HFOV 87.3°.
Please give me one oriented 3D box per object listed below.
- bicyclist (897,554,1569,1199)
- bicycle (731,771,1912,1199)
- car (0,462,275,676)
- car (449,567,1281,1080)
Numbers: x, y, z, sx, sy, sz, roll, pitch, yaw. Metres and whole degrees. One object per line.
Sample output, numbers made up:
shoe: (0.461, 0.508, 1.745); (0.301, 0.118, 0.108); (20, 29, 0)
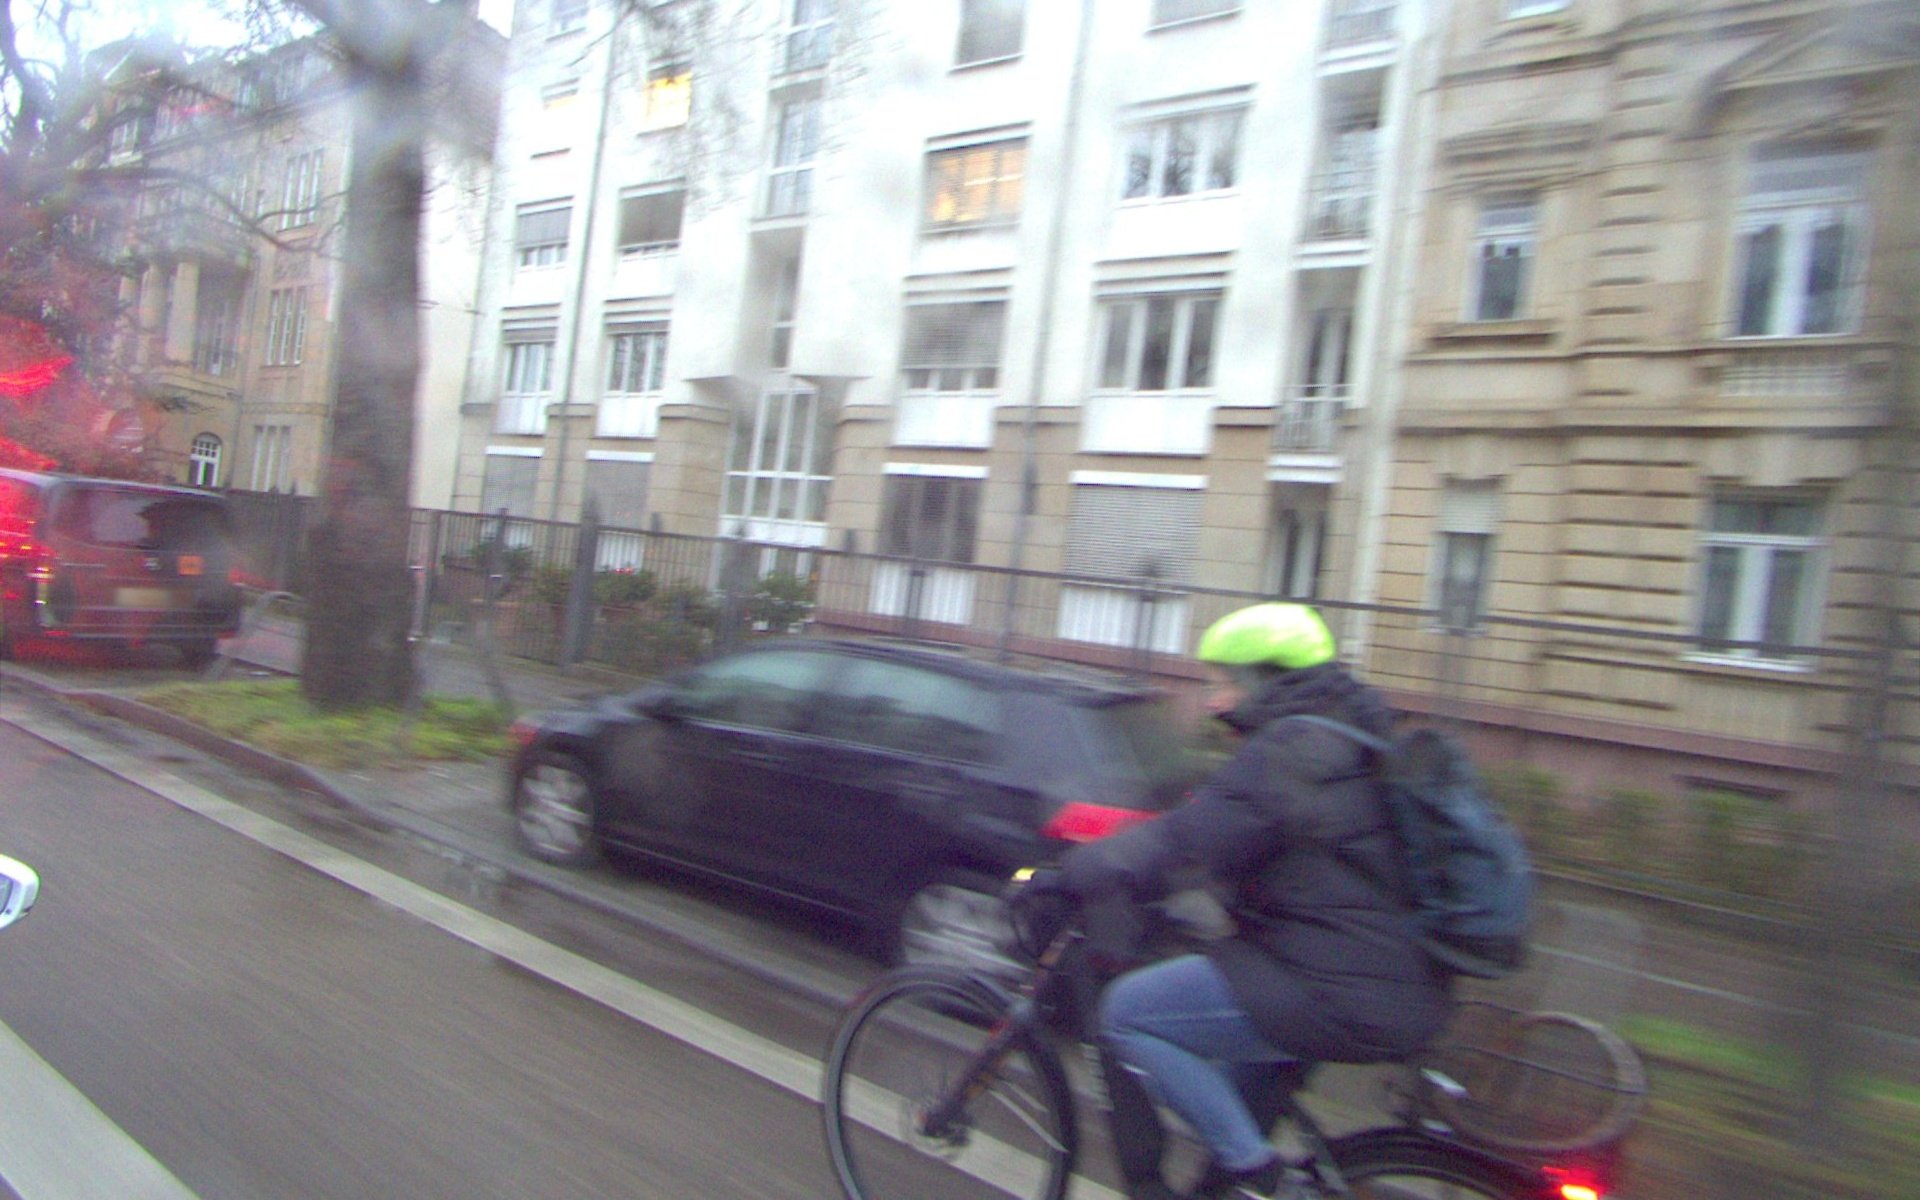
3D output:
bicyclist: (0.556, 0.834, 2.143); (1.038, 1.681, 0.719); (7, -2, 28)
bicycle: (0.538, 1.119, 2.122); (1.907, 1.125, 0.719); (7, -2, 28)
car: (-10.074, -0.453, 11.279); (4.881, 1.899, 2.033); (7, 0, 32)
car: (-0.635, 0.818, 5.400); (4.087, 1.464, 1.759); (8, 1, 30)
